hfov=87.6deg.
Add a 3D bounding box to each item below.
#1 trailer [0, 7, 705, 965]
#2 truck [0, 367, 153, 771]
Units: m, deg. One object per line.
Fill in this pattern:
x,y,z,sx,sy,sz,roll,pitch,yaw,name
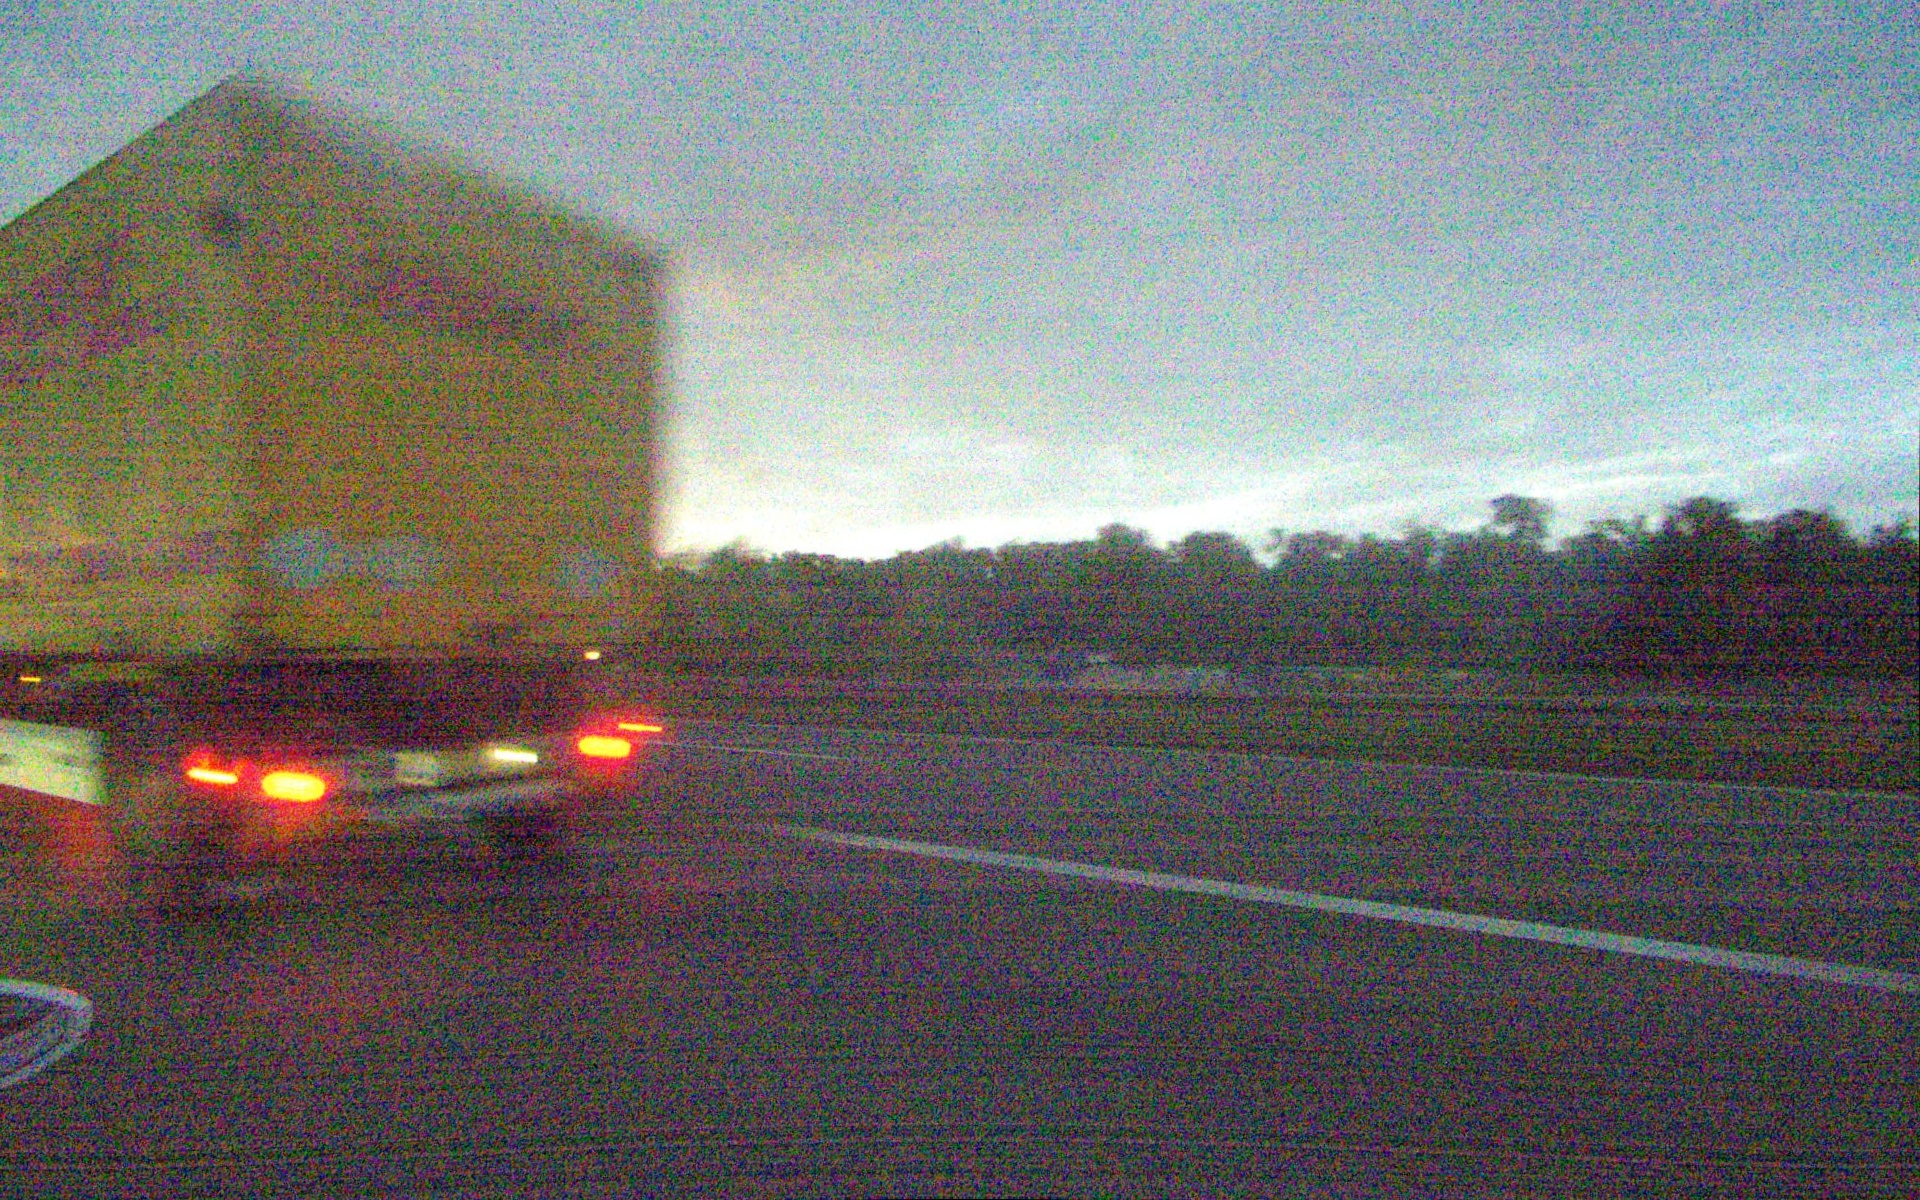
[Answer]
-6.078,-0.387,7.791,8.705,4.123,2.717,-1,-2,32,trailer
-14.205,-0.229,12.915,10.370,4.123,2.686,-1,-2,32,truck
